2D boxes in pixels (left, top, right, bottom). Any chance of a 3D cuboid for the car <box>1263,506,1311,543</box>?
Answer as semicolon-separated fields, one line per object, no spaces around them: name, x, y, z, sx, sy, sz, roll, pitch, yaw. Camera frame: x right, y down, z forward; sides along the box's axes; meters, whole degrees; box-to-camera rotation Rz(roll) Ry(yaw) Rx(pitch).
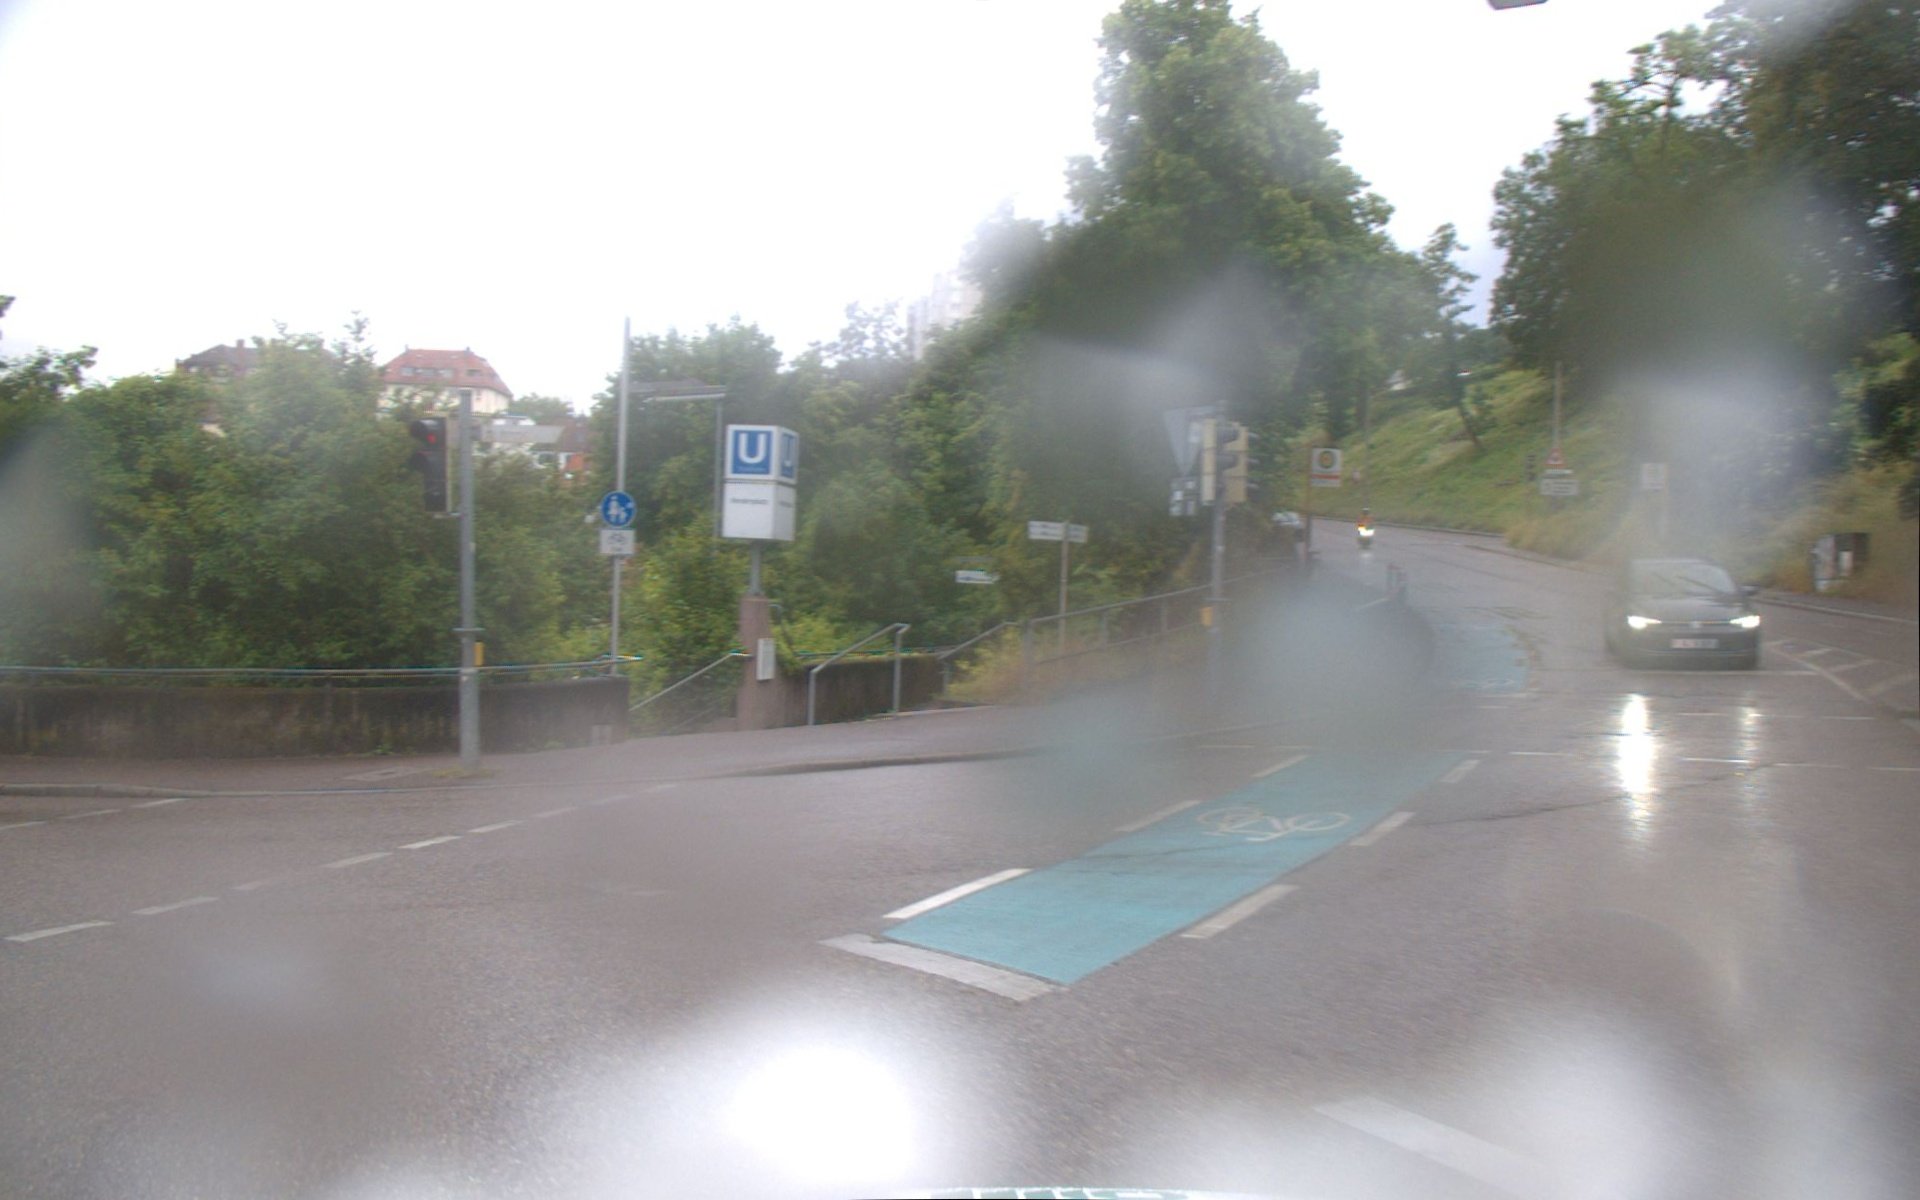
car;16.246;-3.777;82.322;1.797;1.720;4.004;0;4;3

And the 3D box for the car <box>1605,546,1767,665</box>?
car;10.493;-0.003;24.176;1.844;1.548;4.694;0;2;20

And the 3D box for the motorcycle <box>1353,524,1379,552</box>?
motorcycle;17.713;-2.709;72.193;0.919;1.163;2.649;1;4;10

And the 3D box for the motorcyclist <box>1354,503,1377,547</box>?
motorcyclist;17.783;-3.301;72.537;0.865;1.905;1.256;1;3;10
